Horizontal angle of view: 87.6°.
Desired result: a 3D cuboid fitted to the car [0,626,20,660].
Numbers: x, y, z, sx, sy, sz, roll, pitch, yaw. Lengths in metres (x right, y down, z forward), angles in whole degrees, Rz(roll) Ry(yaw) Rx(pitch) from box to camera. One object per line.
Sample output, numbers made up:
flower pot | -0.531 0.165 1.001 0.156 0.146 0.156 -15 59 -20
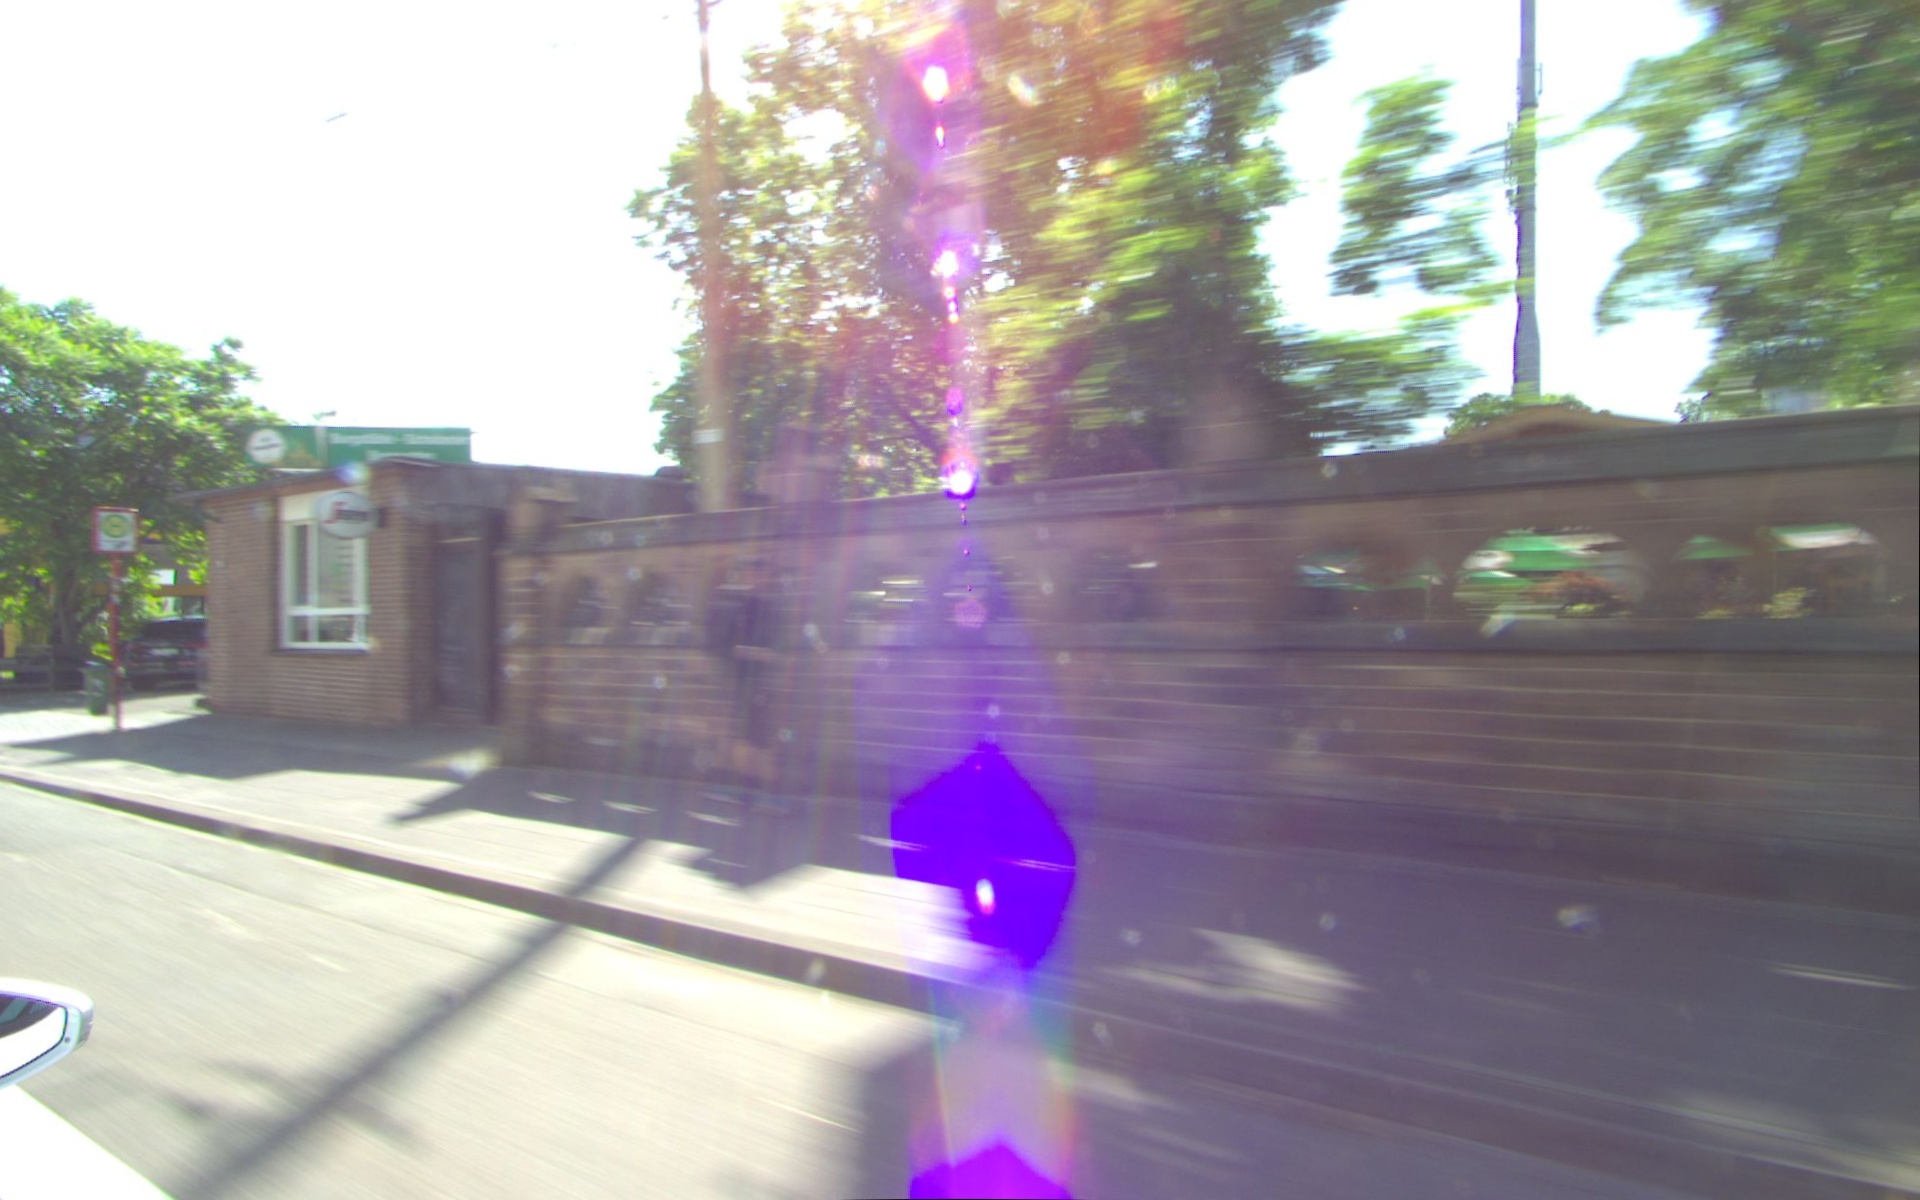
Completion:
car | -42.954 1.882 43.909 1.738 1.474 4.384 0 -1 -32

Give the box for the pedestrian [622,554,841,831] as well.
pedestrian | -1.670 0.610 7.393 1.168 1.841 0.973 0 3 33

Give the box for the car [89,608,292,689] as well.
car | -17.643 1.047 23.287 1.983 1.662 4.654 0 -1 -13
